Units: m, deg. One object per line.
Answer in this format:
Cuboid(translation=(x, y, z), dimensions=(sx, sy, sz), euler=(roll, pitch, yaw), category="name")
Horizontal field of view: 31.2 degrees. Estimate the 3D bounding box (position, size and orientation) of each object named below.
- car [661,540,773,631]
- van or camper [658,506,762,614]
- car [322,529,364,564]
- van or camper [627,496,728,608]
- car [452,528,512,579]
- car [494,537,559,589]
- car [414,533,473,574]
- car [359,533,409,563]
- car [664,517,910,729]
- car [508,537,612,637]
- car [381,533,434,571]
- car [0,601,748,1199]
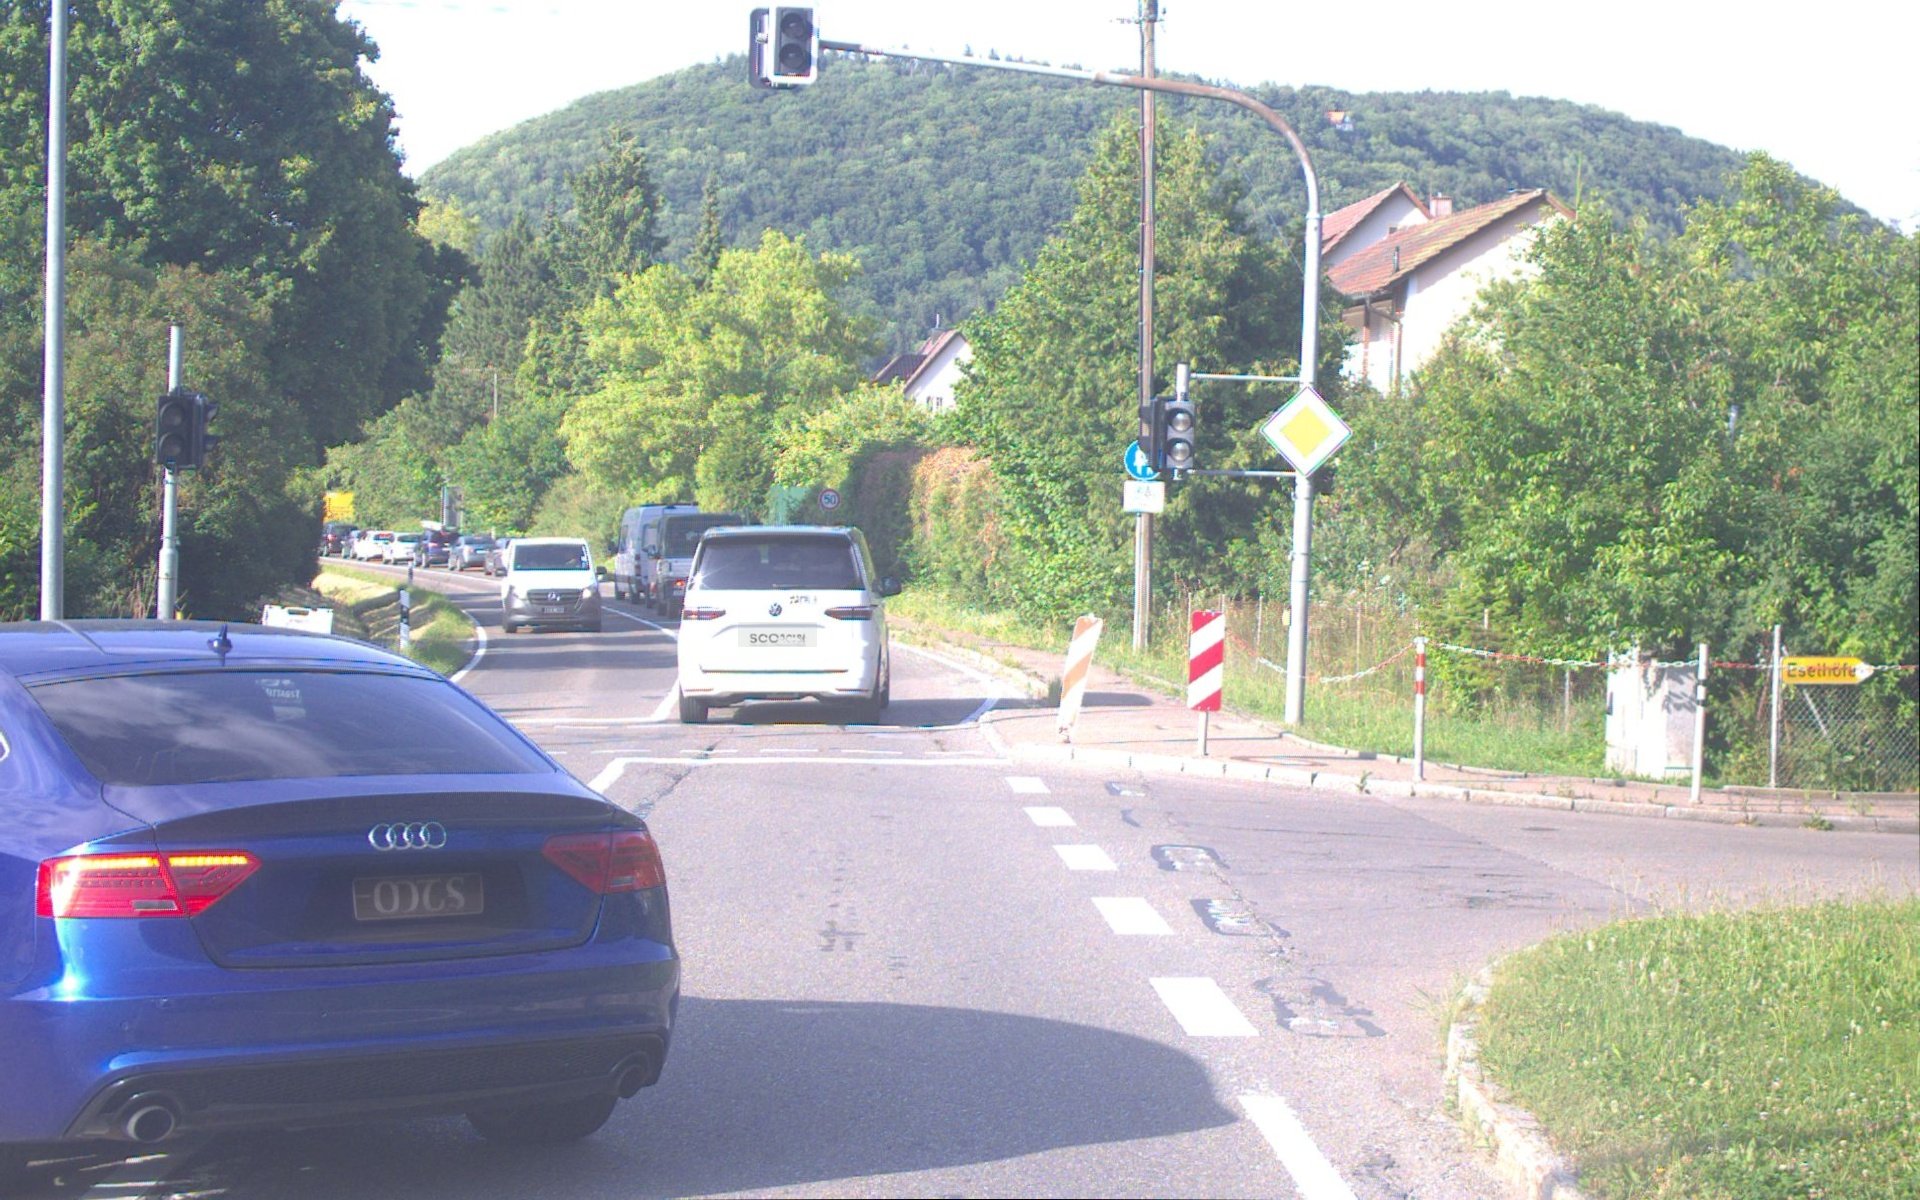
Cuboid(translation=(-4.688, -0.309, 65.872), dimensions=(1.993, 1.678, 4.001), euler=(0, 1, -6), category="car")
Cuboid(translation=(-5.745, -0.944, 78.458), dimensions=(2.179, 2.377, 5.371), euler=(0, 1, -6), category="van or camper")
Cuboid(translation=(-31.855, -2.758, 177.540), dimensions=(1.771, 1.777, 4.001), euler=(-1, 1, -15), category="car")
Cuboid(translation=(-7.656, -1.315, 92.711), dimensions=(2.414, 2.894, 6.133), euler=(0, 1, -8), category="van or camper")
Cuboid(translation=(-19.320, -1.902, 138.857), dimensions=(1.993, 2.007, 4.001), euler=(0, 1, -14), category="car")
Cuboid(translation=(-16.284, -1.401, 128.973), dimensions=(1.795, 1.787, 4.002), euler=(1, 2, -16), category="car")
Cuboid(translation=(-22.164, -2.012, 147.438), dimensions=(2.040, 1.678, 4.001), euler=(1, 1, -15), category="car")
Cuboid(translation=(-27.591, -2.506, 164.622), dimensions=(1.941, 1.420, 4.001), euler=(0, 1, -15), category="car")
Cuboid(translation=(-1.639, 0.158, 34.259), dimensions=(1.993, 1.870, 4.871), euler=(2, 2, 2), category="car")
Cuboid(translation=(-8.139, -0.306, 69.827), dimensions=(1.993, 1.897, 5.254), euler=(-1, 1, -7), category="car")
Cuboid(translation=(-25.083, -2.187, 155.962), dimensions=(1.941, 1.678, 4.001), euler=(-1, 1, -15), category="car")
Cuboid(translation=(-2.370, 0.734, 9.409), dimensions=(1.830, 1.404, 4.227), euler=(-1, 1, -31), category="car")
